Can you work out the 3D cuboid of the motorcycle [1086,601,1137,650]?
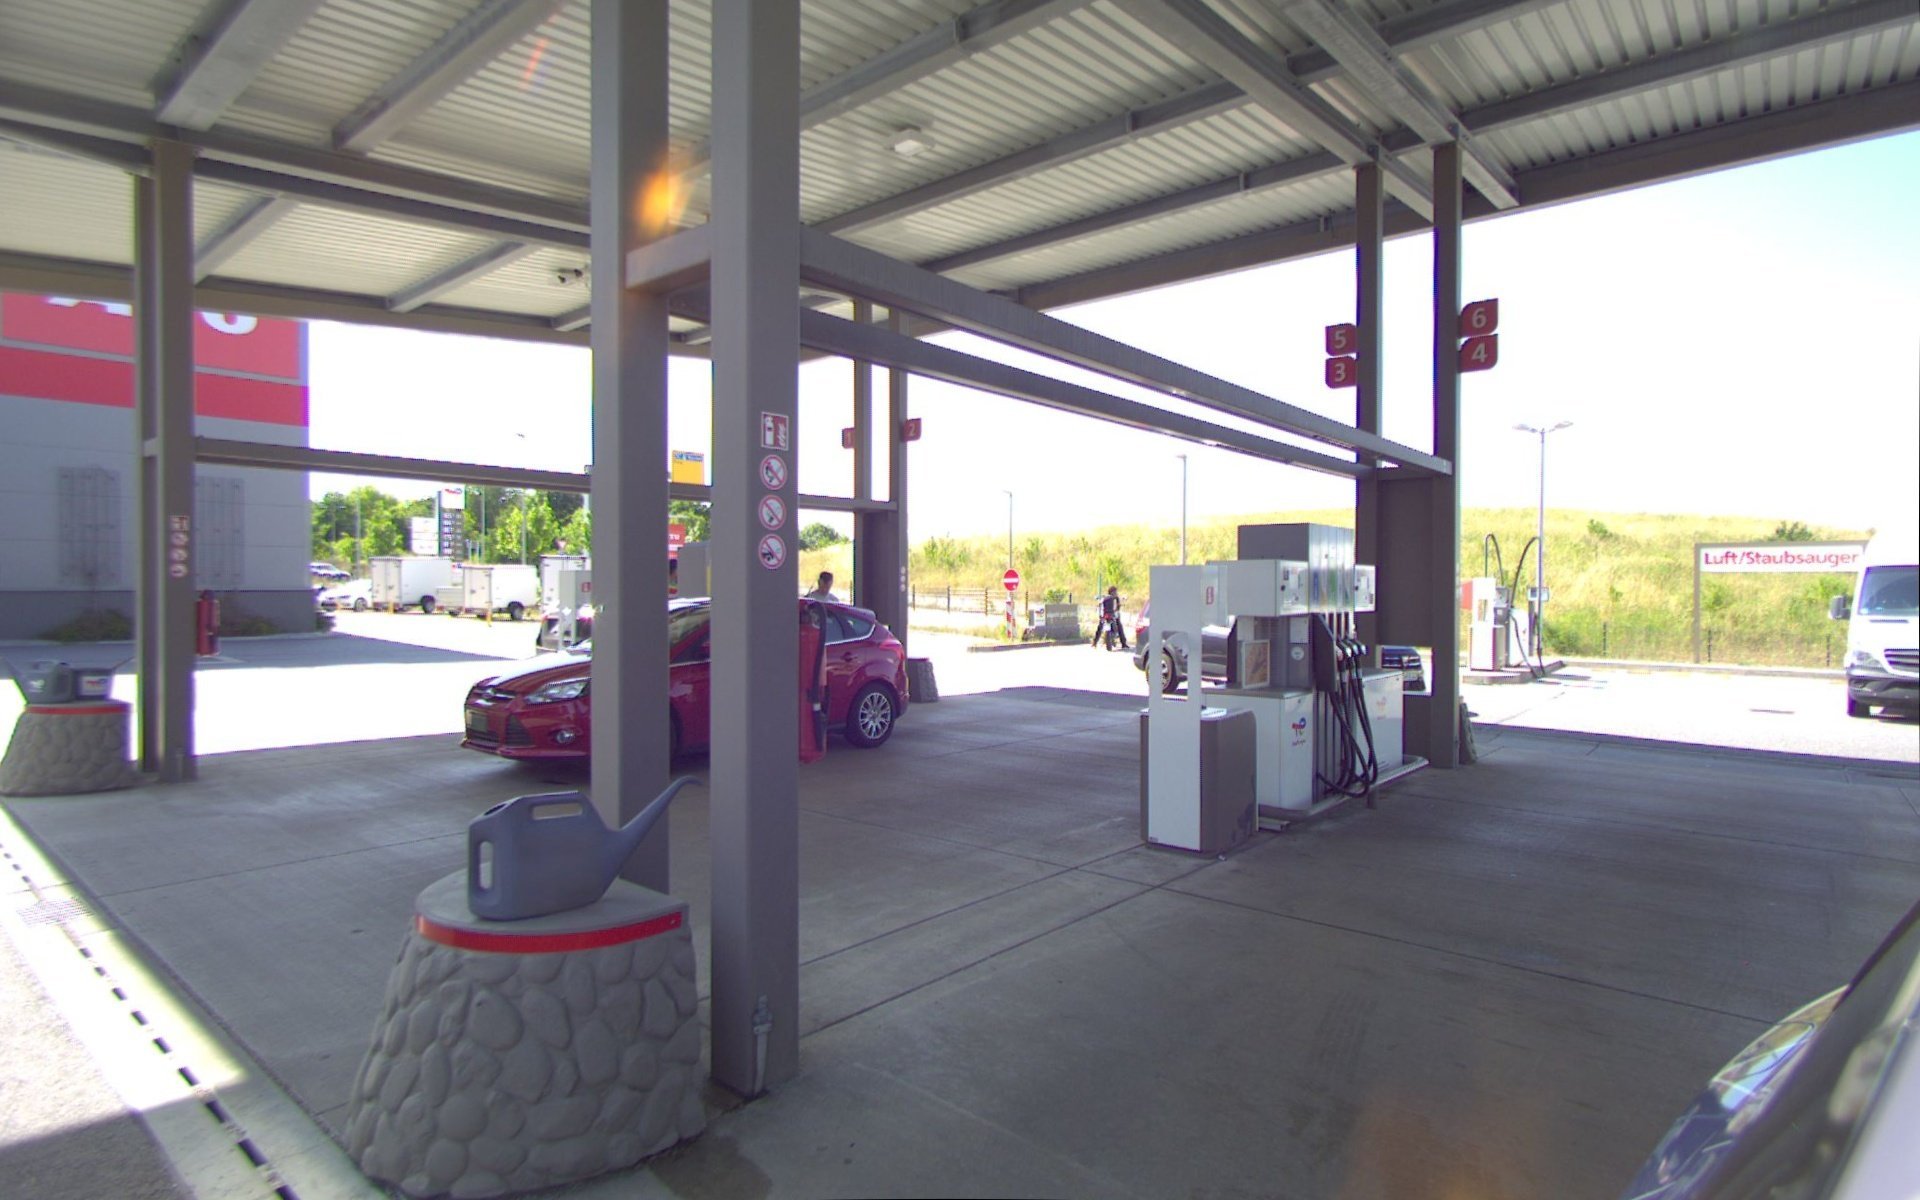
[{"bbox_3d":[3.949,0.633,26.232,1.031,1.119,2.405,1,2,15],"label":"motorcycle"}]

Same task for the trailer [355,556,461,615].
[{"bbox_3d":[-24.284,-0.648,44.687,1.970,2.457,3.985,1,1,13],"label":"trailer"}]

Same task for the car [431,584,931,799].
[{"bbox_3d":[-2.273,0.626,9.194,1.696,1.487,4.172,1,1,39],"label":"car"}]

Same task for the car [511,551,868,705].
[{"bbox_3d":[-3.741,0.352,14.779,2.025,1.874,4.728,1,0,40],"label":"car"}]

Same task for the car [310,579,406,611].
[{"bbox_3d":[-26.602,-0.220,44.857,1.653,1.334,3.829,1,1,7],"label":"car"}]

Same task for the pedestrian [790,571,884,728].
[{"bbox_3d":[-1.414,0.539,11.725,0.696,1.724,0.920,1,0,25],"label":"pedestrian"}]

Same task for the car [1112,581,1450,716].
[{"bbox_3d":[4.507,0.571,14.921,1.711,1.665,4.630,0,1,-37],"label":"car"}]

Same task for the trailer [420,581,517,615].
[{"bbox_3d":[-20.052,-0.091,41.427,1.556,1.297,3.701,1,0,15],"label":"trailer"}]

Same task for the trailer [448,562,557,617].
[{"bbox_3d":[-17.892,-0.404,39.765,1.777,2.039,3.981,1,0,15],"label":"trailer"}]

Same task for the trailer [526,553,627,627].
[{"bbox_3d":[-13.688,-0.363,36.351,1.963,2.457,3.998,1,1,2],"label":"trailer"}]

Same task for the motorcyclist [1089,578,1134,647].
[{"bbox_3d":[3.922,0.300,26.110,1.020,1.709,1.093,1,0,16],"label":"motorcyclist"}]

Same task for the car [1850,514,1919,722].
[{"bbox_3d":[14.746,0.107,14.812,6.916,2.602,1.995,-3,3,-44],"label":"car"}]
